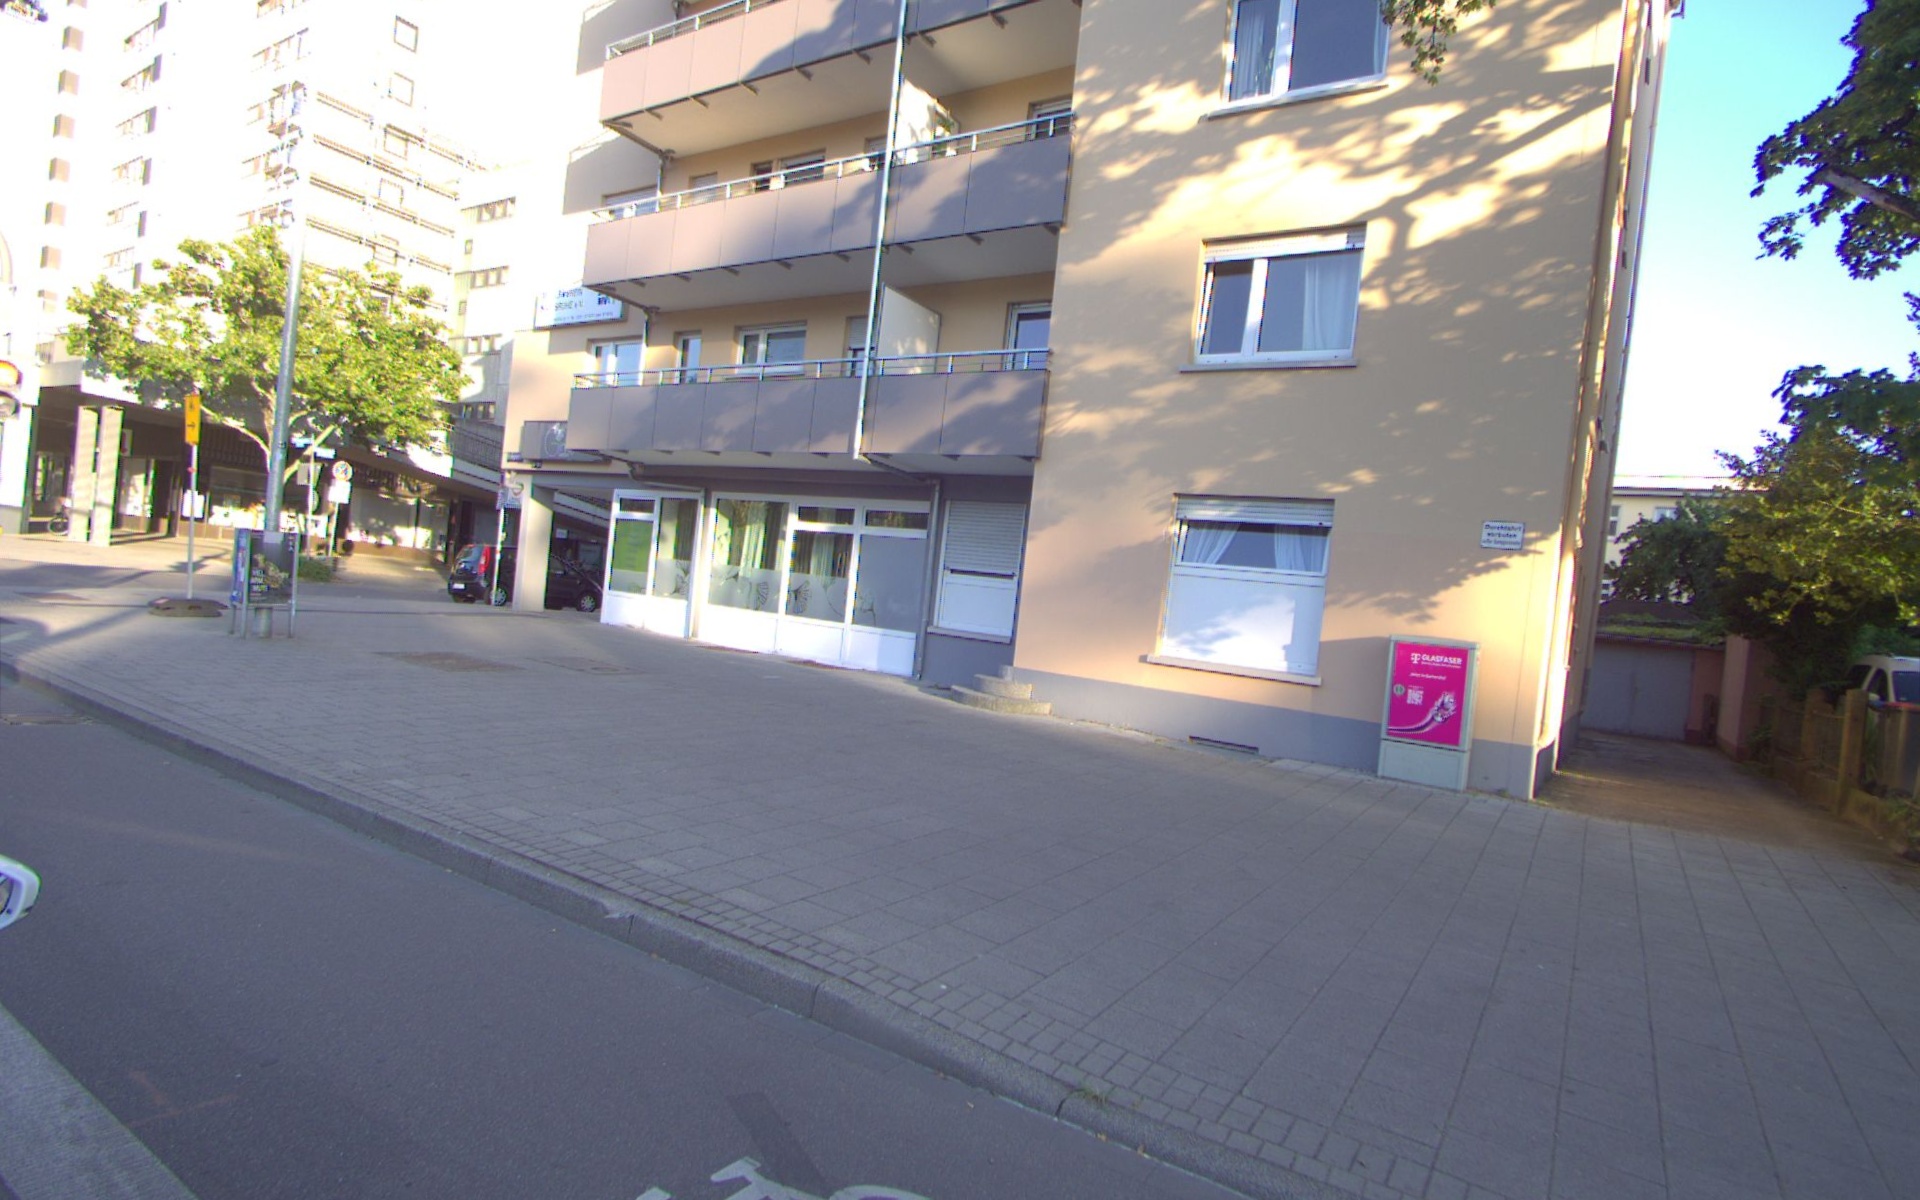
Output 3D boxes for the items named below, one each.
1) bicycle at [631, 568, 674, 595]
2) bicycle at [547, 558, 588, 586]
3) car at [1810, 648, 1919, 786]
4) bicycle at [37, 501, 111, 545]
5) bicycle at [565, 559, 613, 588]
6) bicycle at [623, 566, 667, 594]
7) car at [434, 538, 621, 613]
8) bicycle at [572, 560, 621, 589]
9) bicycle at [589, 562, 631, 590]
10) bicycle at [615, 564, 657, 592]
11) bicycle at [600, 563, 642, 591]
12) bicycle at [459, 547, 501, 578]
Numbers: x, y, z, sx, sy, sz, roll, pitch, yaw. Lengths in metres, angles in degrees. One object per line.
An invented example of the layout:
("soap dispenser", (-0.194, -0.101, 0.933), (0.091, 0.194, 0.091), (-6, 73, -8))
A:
("bicycle", (-14.962, -0.899, 48.931), (1.941, 1.087, 0.583), (6, -2, 21))
("bicycle", (-17.380, -1.249, 44.544), (1.946, 1.086, 0.581), (5, -3, 35))
("car", (14.580, 1.747, 14.960), (1.794, 1.780, 4.513), (8, 2, 27))
("bicycle", (-28.971, -2.522, 32.907), (1.984, 1.162, 0.692), (7, -2, 14))
("bicycle", (-17.000, -1.214, 46.098), (1.939, 1.087, 0.584), (7, -2, 13))
("bicycle", (-15.139, -0.974, 48.311), (1.941, 1.087, 0.583), (6, -2, 21))
("car", (-10.874, -0.575, 25.549), (1.680, 1.605, 4.037), (3, -1, 36))
("bicycle", (-16.809, -1.185, 46.541), (1.939, 1.086, 0.584), (7, -2, 9))
("bicycle", (-16.326, -1.114, 46.953), (1.943, 1.087, 0.582), (6, -3, 29))
("bicycle", (-15.386, -1.033, 47.743), (1.942, 1.087, 0.583), (6, -3, 26))
("bicycle", (-15.960, -1.079, 47.391), (1.943, 1.087, 0.582), (6, -3, 29))
("bicycle", (-20.190, -1.581, 42.329), (1.946, 1.086, 0.581), (5, -3, 35))
